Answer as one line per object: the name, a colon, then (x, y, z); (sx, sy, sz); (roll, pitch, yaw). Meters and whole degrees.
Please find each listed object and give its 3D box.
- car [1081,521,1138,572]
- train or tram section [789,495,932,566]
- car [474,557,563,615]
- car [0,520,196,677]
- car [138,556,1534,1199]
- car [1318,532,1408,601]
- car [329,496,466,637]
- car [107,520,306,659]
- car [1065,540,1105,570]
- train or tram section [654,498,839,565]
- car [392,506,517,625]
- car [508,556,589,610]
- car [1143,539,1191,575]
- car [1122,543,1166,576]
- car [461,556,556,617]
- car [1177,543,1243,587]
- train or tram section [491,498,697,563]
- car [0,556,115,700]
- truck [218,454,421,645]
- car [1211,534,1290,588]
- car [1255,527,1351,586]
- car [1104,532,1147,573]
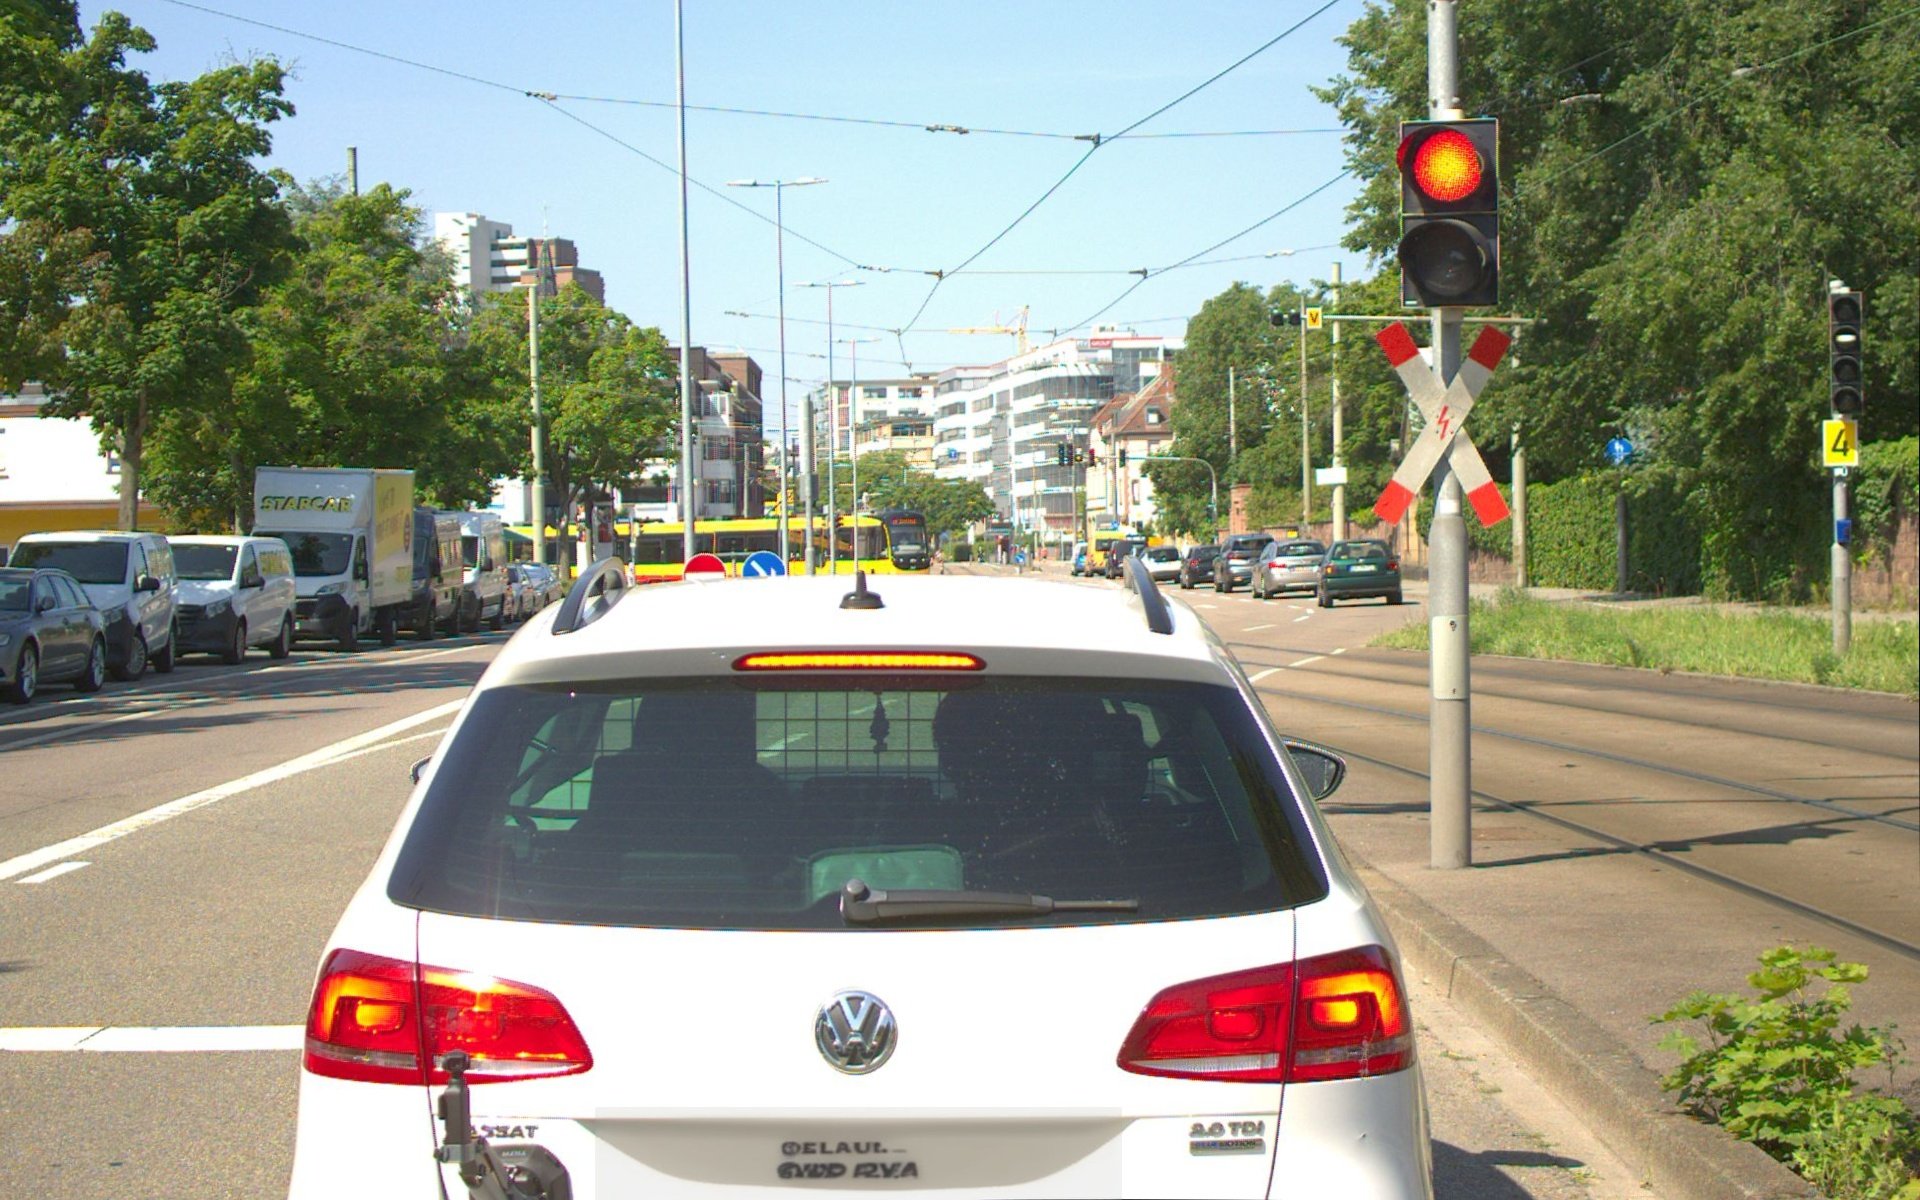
car: (7.560, -2.697, 174.374); (2.463, 2.490, 5.910); (1, 0, -1)
train or tram section: (-4.868, -3.278, 164.321); (2.301, 3.241, 11.276); (1, 0, -26)
car: (-11.714, -0.382, 91.392); (1.843, 1.428, 4.038); (-1, 1, -1)
car: (-11.458, -0.064, 45.539); (1.843, 1.930, 5.195); (-1, 1, -4)
car: (-0.210, 0.667, 6.346); (1.768, 1.441, 3.913); (1, 1, -1)
car: (8.360, -0.719, 71.573); (1.746, 1.383, 3.912); (1, 1, 5)
car: (-11.129, -0.685, 68.335); (1.843, 2.659, 5.003); (-1, 1, 0)
car: (-11.340, -0.200, 52.063); (1.843, 1.954, 5.134); (-1, 1, 0)
car: (6.849, -2.459, 188.824); (1.993, 1.590, 4.000); (1, 0, 0)
train or tram section: (-10.752, -3.425, 172.234); (10.799, 3.241, 2.303); (1, 0, 42)
car: (-11.117, -0.796, 75.974); (1.843, 2.486, 5.857); (-1, 1, 0)
car: (-11.555, -0.499, 96.722); (1.780, 1.428, 4.038); (-1, 1, -1)
car: (8.003, -1.639, 132.919); (1.581, 1.341, 3.454); (1, 0, -1)
car: (7.788, -1.723, 145.717); (1.581, 1.341, 3.454); (1, 0, -1)
car: (-11.201, -0.356, 85.580); (1.843, 1.428, 4.038); (-1, 1, -1)
car: (8.215, -1.160, 113.199); (1.745, 1.403, 3.913); (1, 1, -2)
train or tram section: (-19.010, -3.599, 178.275); (10.998, 3.241, 2.305); (1, 0, 26)
car: (-10.977, 0.292, 38.817); (1.843, 1.511, 4.197); (-1, 1, -1)
truck: (-11.152, -0.899, 60.397); (2.356, 3.112, 6.892); (-1, 1, -1)
car: (8.424, -1.160, 100.040); (1.861, 1.508, 3.913); (1, 1, -1)
car: (8.653, -1.118, 87.035); (1.861, 1.412, 4.325); (1, 1, -1)
car: (7.480, -2.146, 155.570); (1.691, 1.806, 3.454); (1, 0, -1)
